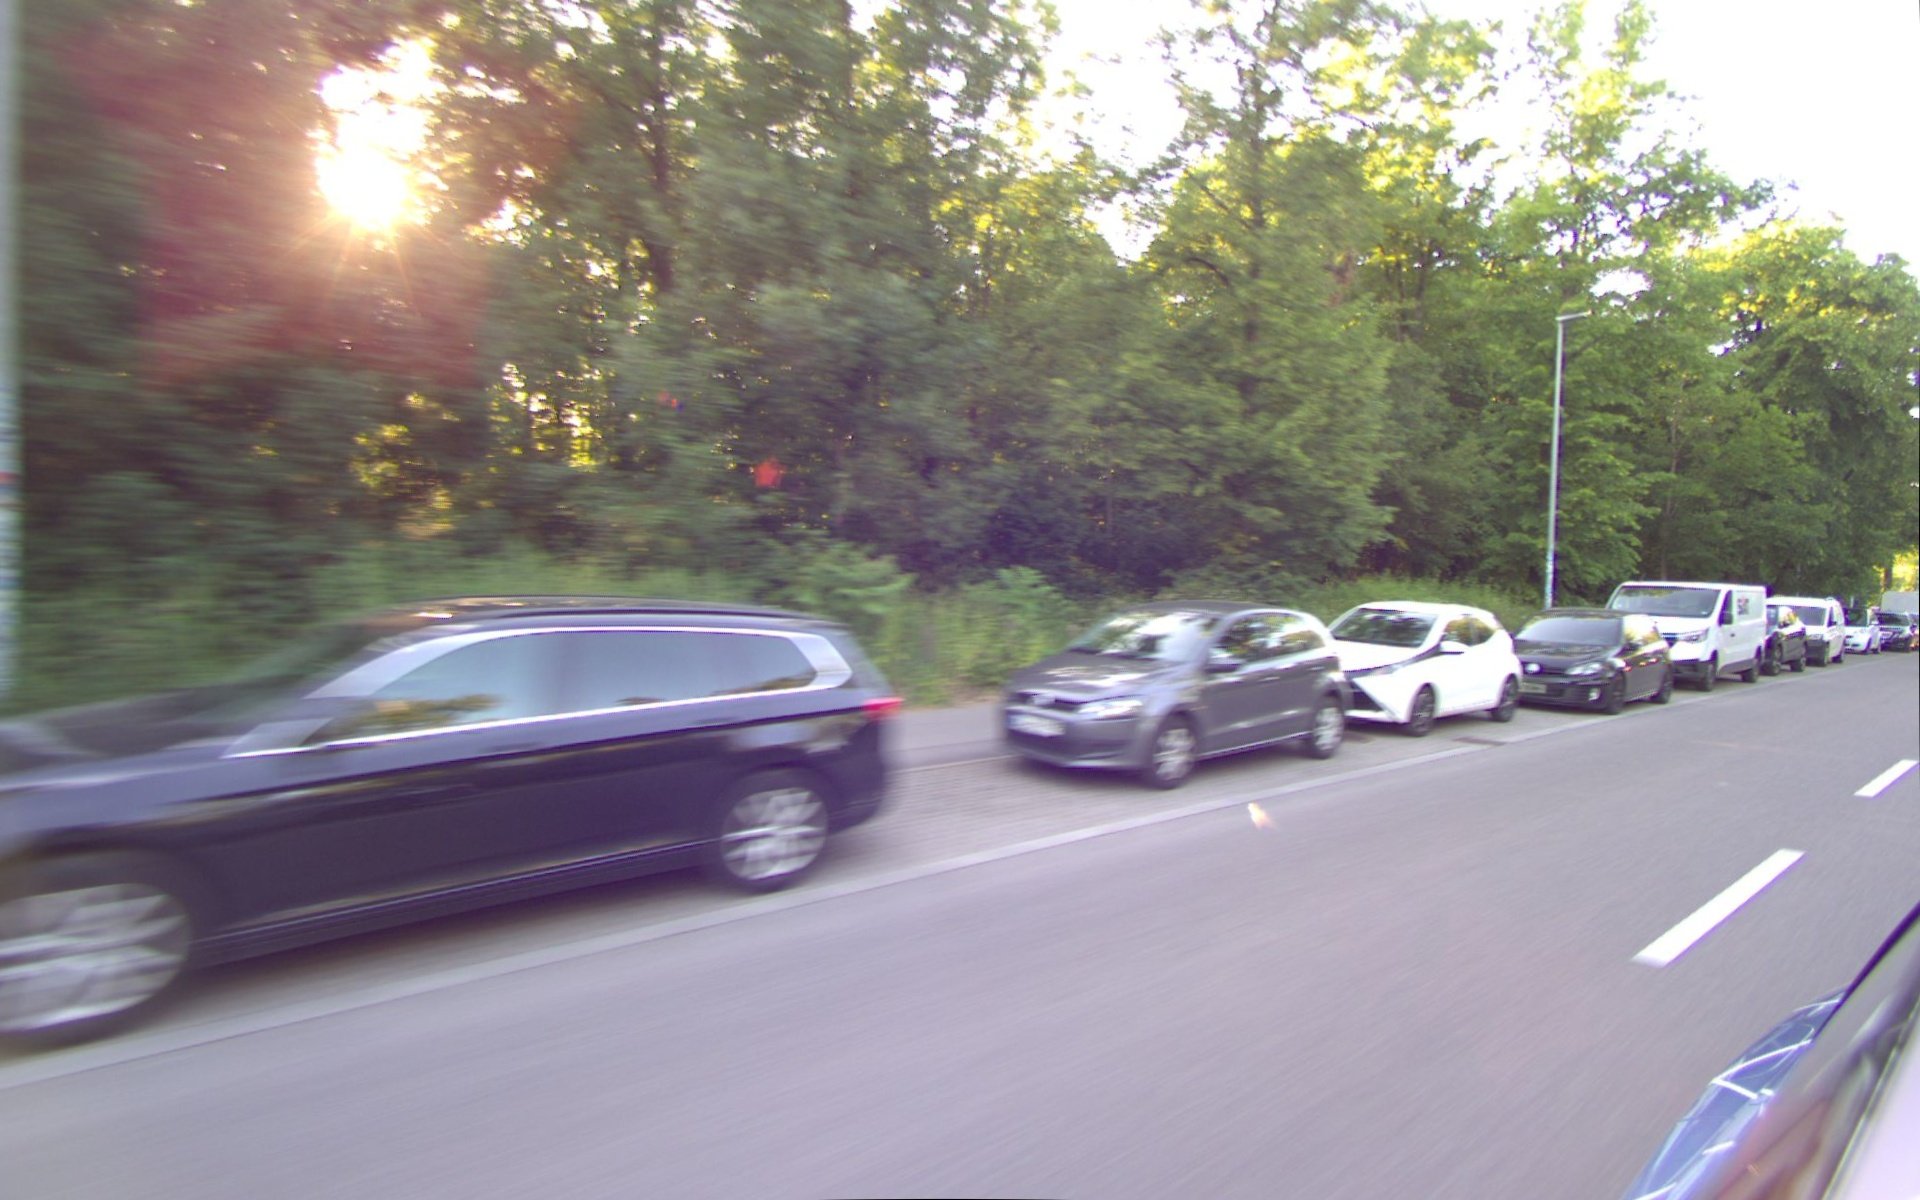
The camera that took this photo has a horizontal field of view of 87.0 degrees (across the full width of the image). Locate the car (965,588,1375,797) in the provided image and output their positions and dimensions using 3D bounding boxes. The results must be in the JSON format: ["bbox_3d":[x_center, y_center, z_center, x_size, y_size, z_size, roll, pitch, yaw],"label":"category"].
[{"bbox_3d":[2.044,0.660,9.234,3.873,1.471,1.589,0,3,-40],"label":"car"}]

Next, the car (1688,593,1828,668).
[{"bbox_3d":[18.928,0.644,23.942,4.351,1.566,1.763,0,3,-41],"label":"car"}]

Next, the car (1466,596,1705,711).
[{"bbox_3d":[9.655,0.699,15.487,4.292,1.423,1.873,0,3,-41],"label":"car"}]

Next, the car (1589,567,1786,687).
[{"bbox_3d":[14.342,0.428,19.811,5.379,2.005,1.873,0,3,-41],"label":"car"}]

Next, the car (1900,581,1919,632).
[{"bbox_3d":[49.380,0.320,51.435,5.482,2.453,1.907,0,3,-43],"label":"car"}]

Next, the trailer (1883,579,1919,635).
[{"bbox_3d":[44.437,0.311,46.959,5.040,2.453,1.907,0,3,-43],"label":"trailer"}]

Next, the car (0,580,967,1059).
[{"bbox_3d":[-2.295,0.677,4.990,4.814,1.471,1.640,0,3,-43],"label":"car"}]

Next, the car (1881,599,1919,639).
[{"bbox_3d":[40.184,0.786,42.588,4.279,1.554,1.680,0,3,-42],"label":"car"}]

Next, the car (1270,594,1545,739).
[{"bbox_3d":[5.623,0.694,12.541,3.730,1.471,1.589,0,3,-40],"label":"car"}]

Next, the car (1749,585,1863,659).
[{"bbox_3d":[23.511,0.551,28.066,4.657,1.826,1.762,0,3,-42],"label":"car"}]

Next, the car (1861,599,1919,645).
[{"bbox_3d":[35.884,0.796,38.598,4.904,1.554,1.762,0,3,-42],"label":"car"}]

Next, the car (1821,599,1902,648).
[{"bbox_3d":[31.050,0.762,34.854,3.123,1.513,1.589,0,3,-40],"label":"car"}]
